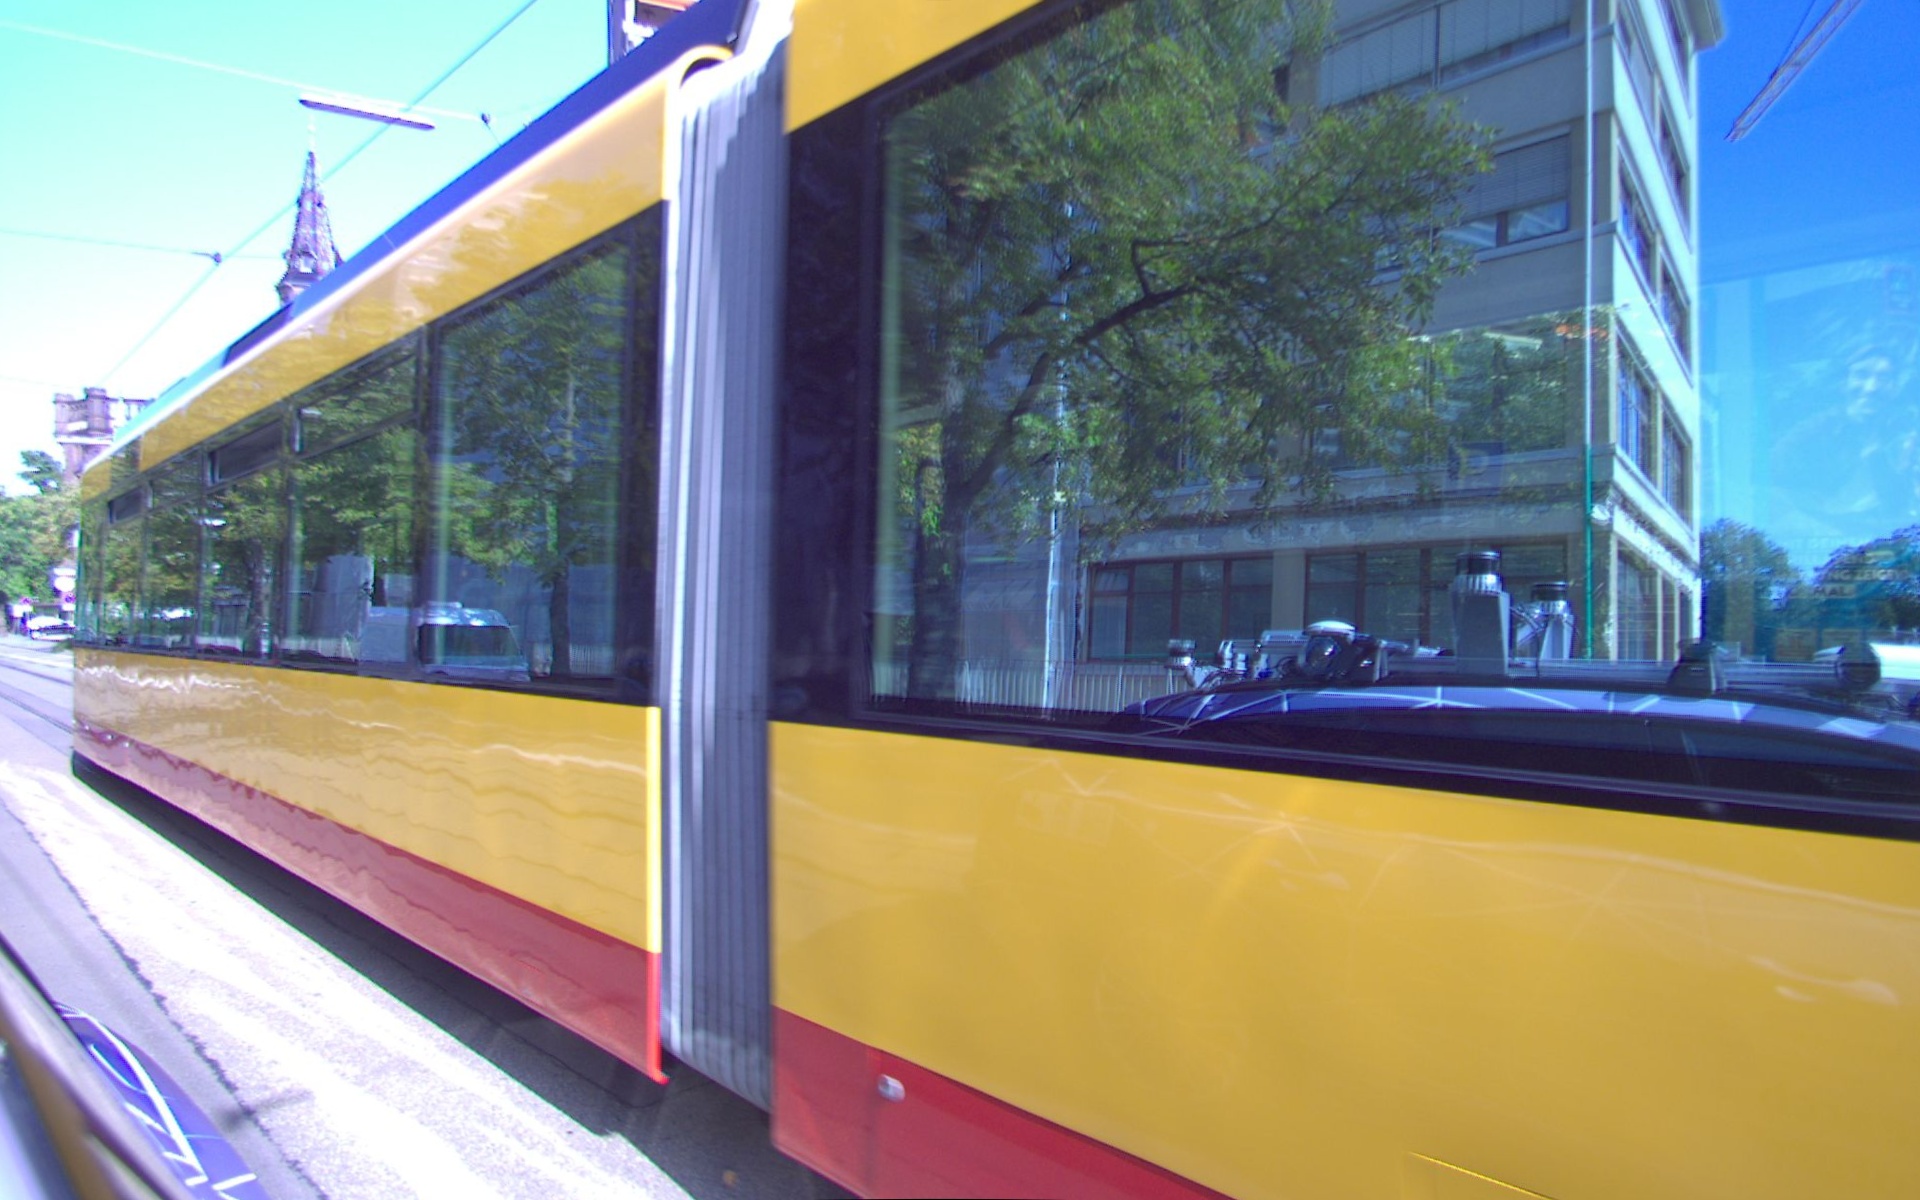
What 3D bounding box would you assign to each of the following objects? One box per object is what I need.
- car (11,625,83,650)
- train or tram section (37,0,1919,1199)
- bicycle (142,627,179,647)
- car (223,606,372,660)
[{"bbox_3d":[-78.543,3.223,87.124,1.957,1.657,4.350,-2,3,43],"label":"car"},{"bbox_3d":[-3.043,0.025,6.354,15.452,2.916,2.699,-2,-1,42],"label":"train or tram section"},{"bbox_3d":[-49.643,2.287,62.856,0.418,1.082,1.797,-2,4,20],"label":"bicycle"},{"bbox_3d":[-21.790,1.052,33.493,1.771,1.490,3.985,-3,1,12],"label":"car"}]
